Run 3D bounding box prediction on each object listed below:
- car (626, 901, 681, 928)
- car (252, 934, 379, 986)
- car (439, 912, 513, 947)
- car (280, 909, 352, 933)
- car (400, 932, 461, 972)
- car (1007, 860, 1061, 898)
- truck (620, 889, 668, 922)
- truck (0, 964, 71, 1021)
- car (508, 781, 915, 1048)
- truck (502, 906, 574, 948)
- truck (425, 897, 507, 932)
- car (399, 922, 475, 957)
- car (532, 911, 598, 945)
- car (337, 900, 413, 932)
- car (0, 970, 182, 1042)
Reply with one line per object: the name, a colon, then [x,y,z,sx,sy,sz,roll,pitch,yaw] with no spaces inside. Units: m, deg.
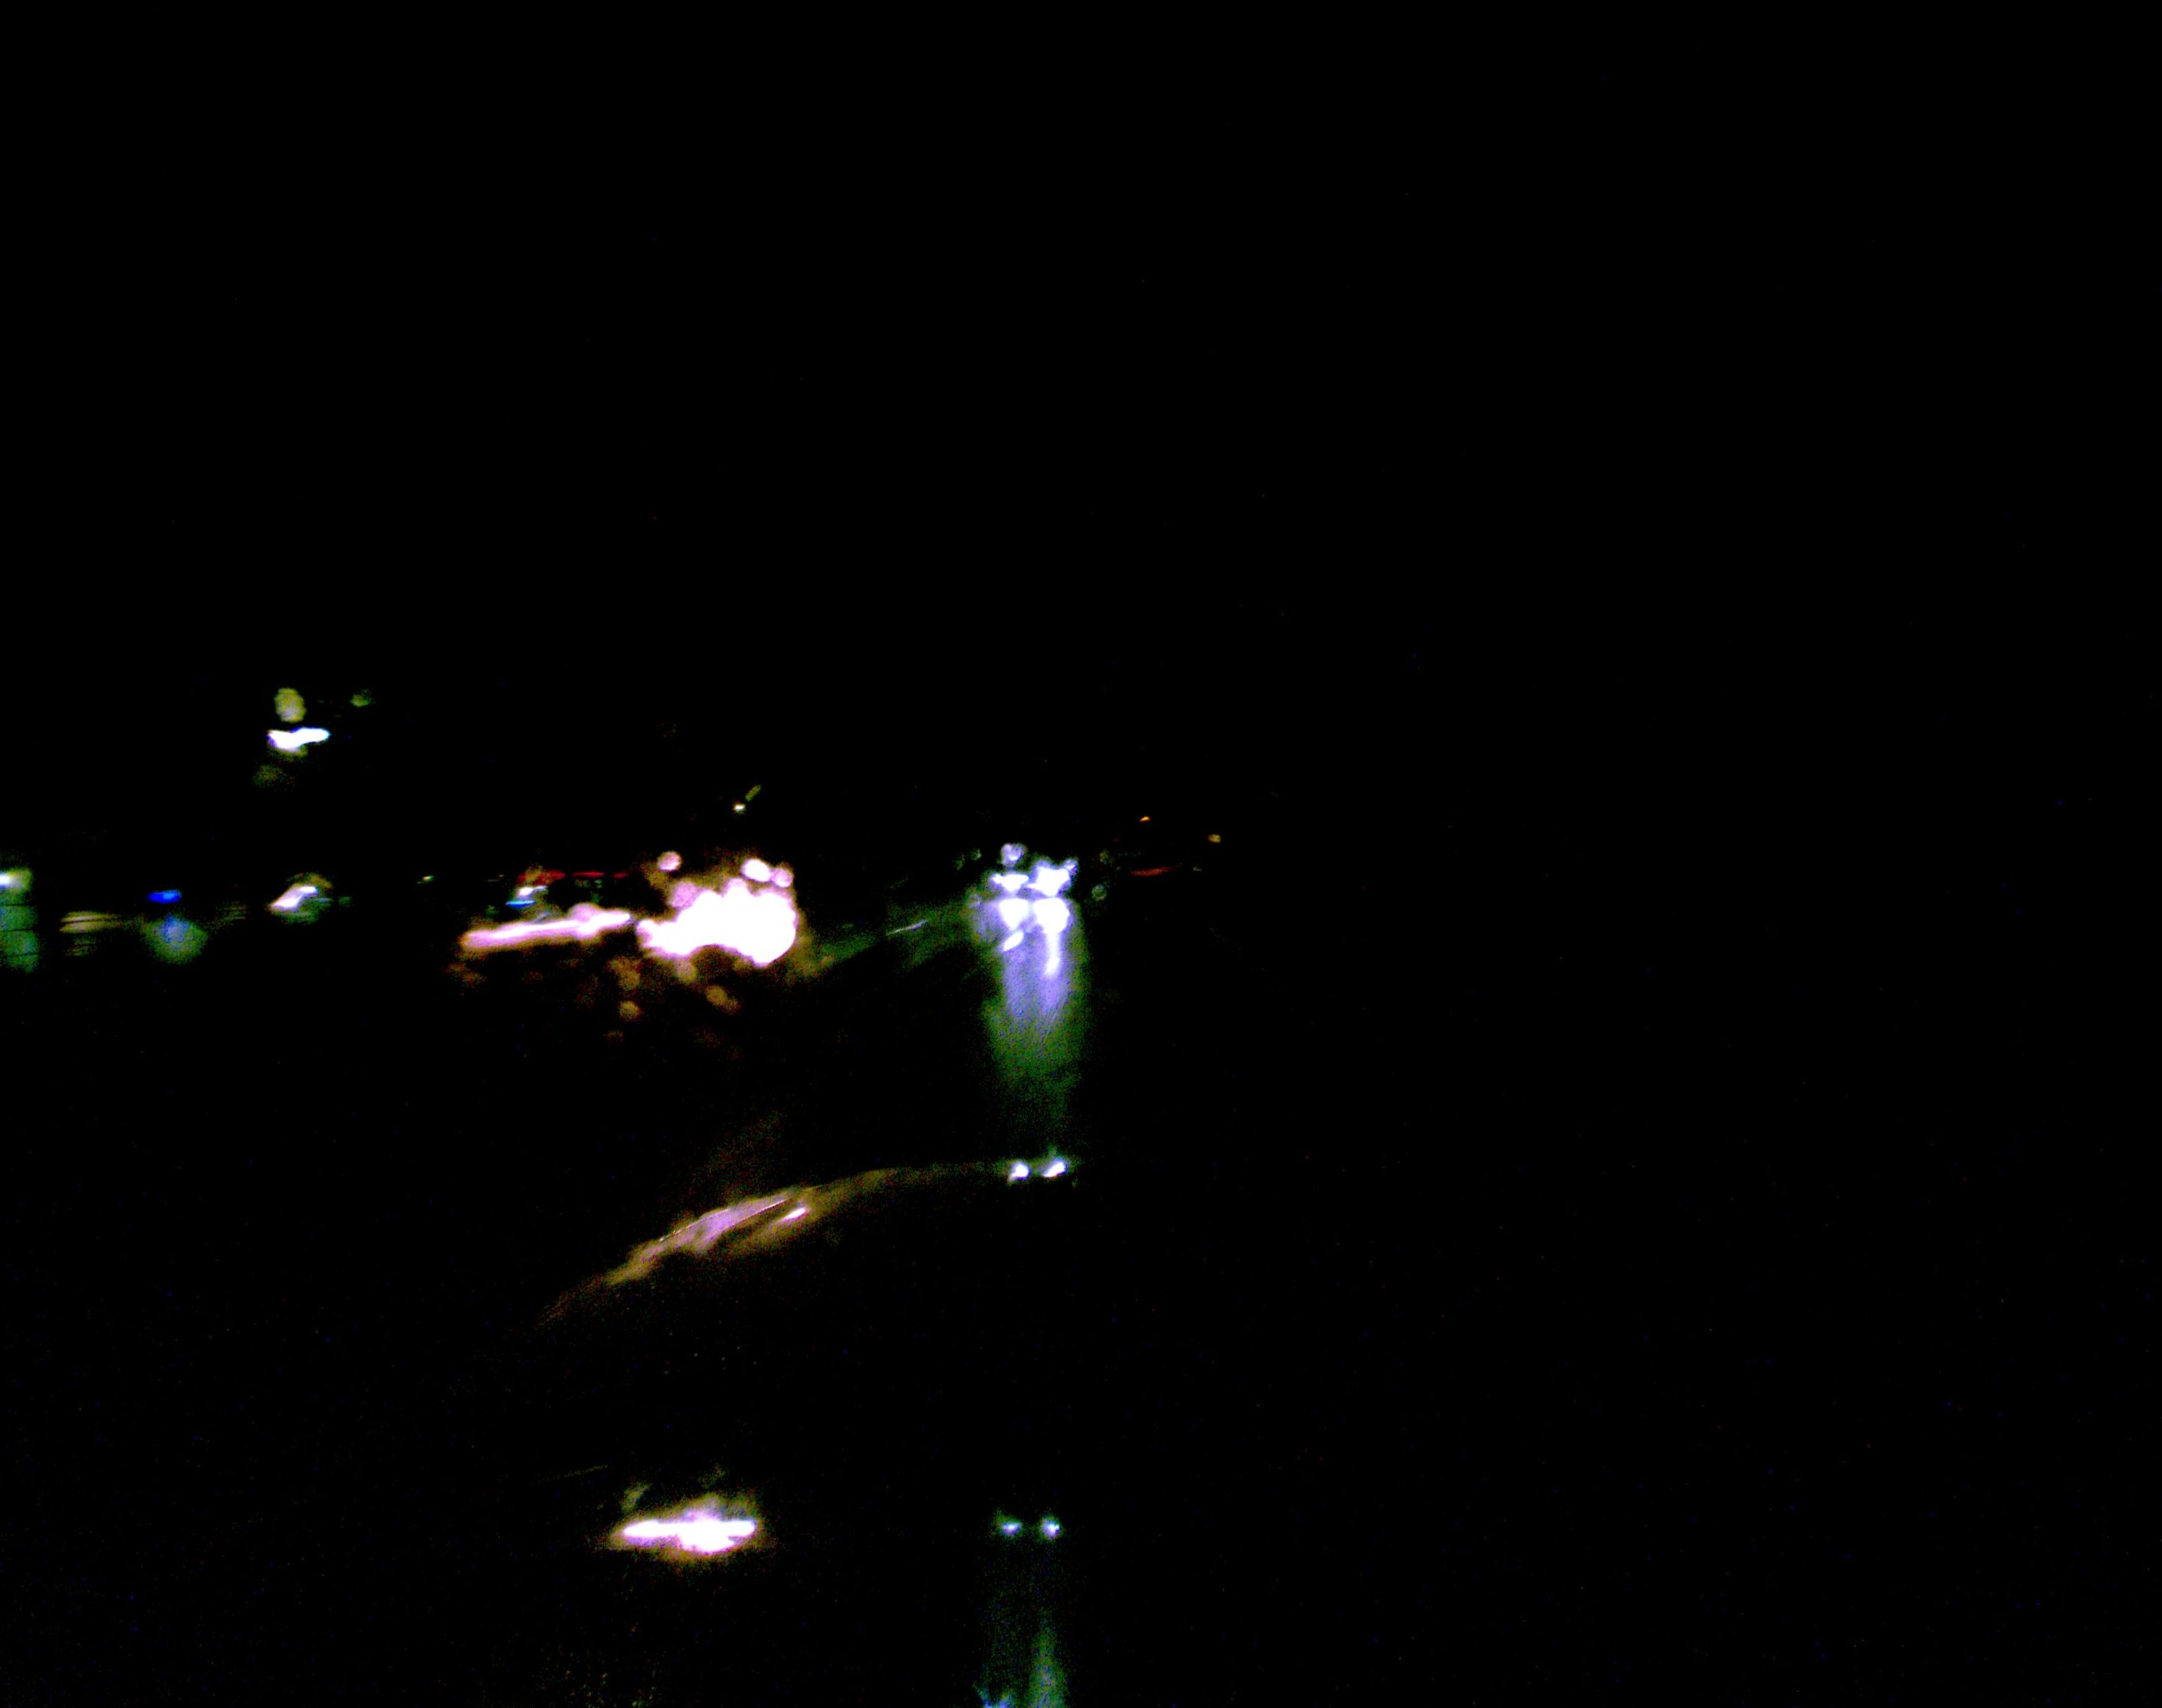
car: [-31.408,4.421,59.917,1.766,1.596,3.998,-7,-1,-1]
car: [-32.933,4.509,35.257,1.999,1.567,4.824,-5,-1,-18]
car: [-35.817,4.435,48.323,1.742,1.618,3.509,-5,-1,-3]
car: [-61.655,5.379,65.740,1.849,1.712,4.006,-1,-1,5]
car: [-32.393,4.849,40.664,1.824,1.567,4.163,-5,-1,-33]
car: [-1.755,0.925,31.676,1.584,1.379,4.328,0,-1,3]
truck: [-40.679,4.732,75.898,1.769,2.631,5.169,-7,-1,-4]
truck: [-46.690,6.127,34.495,2.079,2.118,4.490,-7,-1,-3]
car: [-3.306,0.450,8.610,1.884,2.002,4.883,0,0,2]
truck: [-39.003,5.207,58.678,1.766,2.444,4.816,-7,-1,-1]
truck: [-50.706,4.967,67.371,2.316,2.463,6.480,-1,-1,-5]
car: [-38.194,5.017,48.394,1.676,1.618,3.509,-5,-1,-3]
car: [-30.904,4.414,48.901,1.742,1.618,3.509,-5,-1,-3]
car: [-56.714,4.945,65.534,1.985,2.265,4.462,-1,-1,3]
car: [-29.308,4.434,23.734,3.974,1.455,1.911,-7,-1,0]
